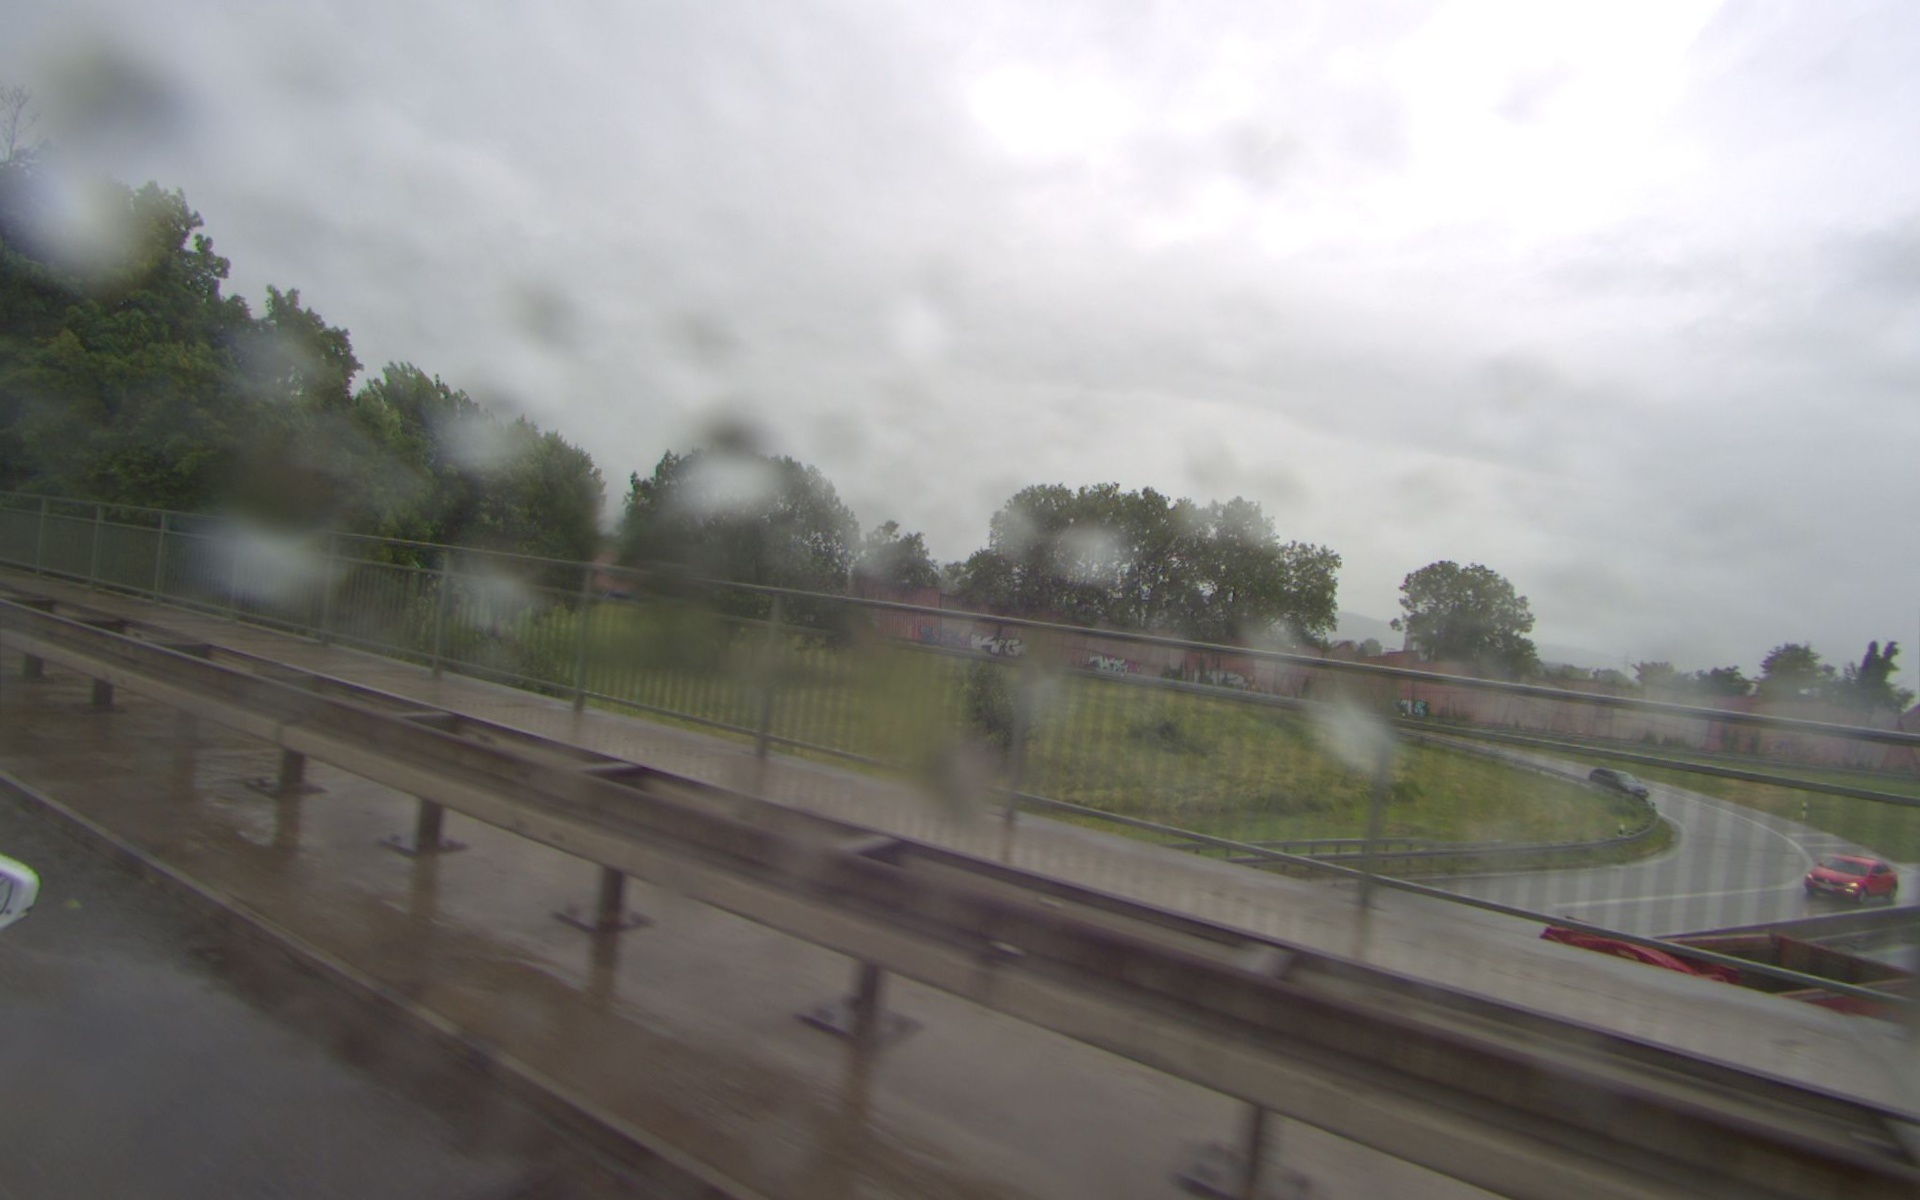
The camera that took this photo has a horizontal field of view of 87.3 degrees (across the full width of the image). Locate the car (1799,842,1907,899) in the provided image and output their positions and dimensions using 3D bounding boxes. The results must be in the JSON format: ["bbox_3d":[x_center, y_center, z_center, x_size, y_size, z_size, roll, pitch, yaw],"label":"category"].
[{"bbox_3d":[35.638,10.788,40.130,3.957,1.601,1.796,11,-4,-26],"label":"car"}]

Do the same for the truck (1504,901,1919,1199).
[{"bbox_3d":[15.850,7.994,18.835,12.228,3.793,3.125,8,-2,-25],"label":"truck"}]
